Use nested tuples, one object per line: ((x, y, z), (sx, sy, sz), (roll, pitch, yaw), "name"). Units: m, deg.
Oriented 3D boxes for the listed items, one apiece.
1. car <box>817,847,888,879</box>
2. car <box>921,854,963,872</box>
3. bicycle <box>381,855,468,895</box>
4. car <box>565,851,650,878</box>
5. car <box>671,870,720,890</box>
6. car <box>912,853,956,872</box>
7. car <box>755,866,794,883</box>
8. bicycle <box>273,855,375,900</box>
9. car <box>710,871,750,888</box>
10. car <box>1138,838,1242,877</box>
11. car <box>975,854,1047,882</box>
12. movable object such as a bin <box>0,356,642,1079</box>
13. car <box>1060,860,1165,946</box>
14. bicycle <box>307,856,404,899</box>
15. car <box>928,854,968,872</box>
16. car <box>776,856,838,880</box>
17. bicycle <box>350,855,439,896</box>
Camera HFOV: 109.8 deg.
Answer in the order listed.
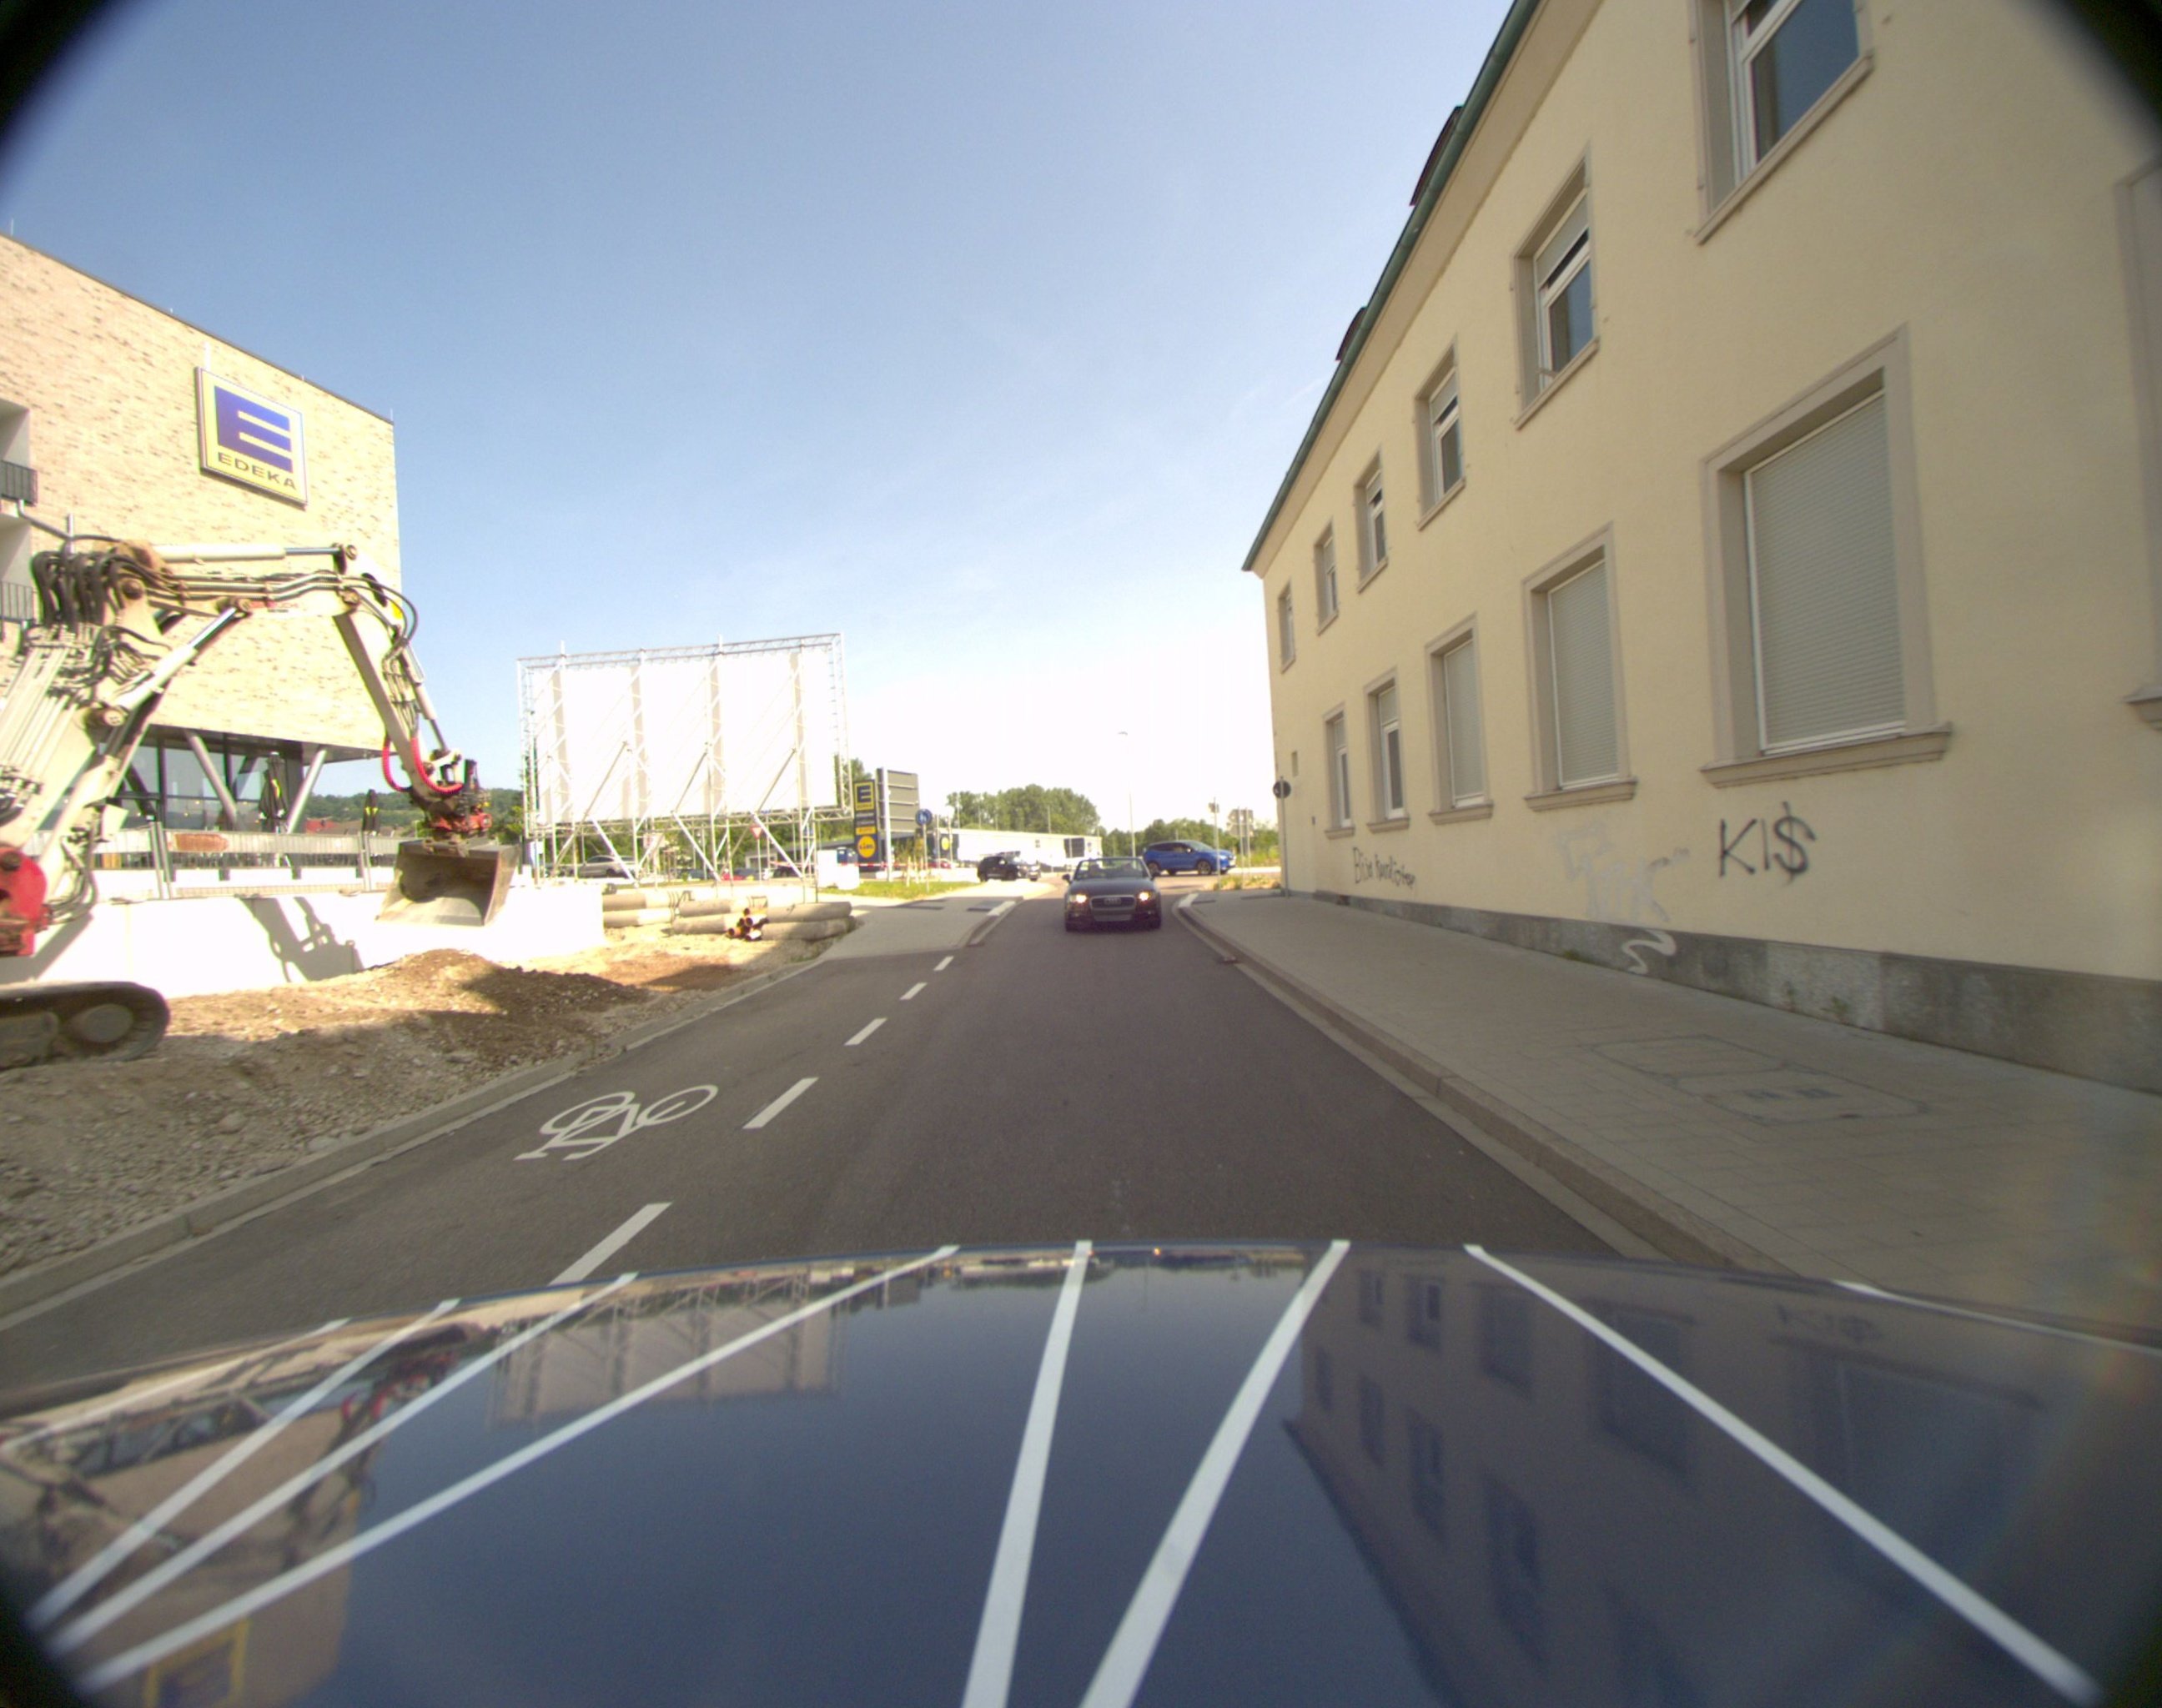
((-21.048, 0.822, 70.027), (6.080, 2.369, 2.064), (-6, -2, 20), "car")
((-14.956, 0.970, 81.781), (4.018, 1.564, 1.780), (-6, -1, 2), "car")
((-22.567, 0.734, 26.143), (2.242, 1.137, 0.857), (-6, -1, 3), "bicycle")
((-30.276, 0.684, 48.560), (4.812, 1.546, 1.861), (-1, -3, 16), "car")
((-35.515, 2.367, 70.034), (1.760, 1.564, 3.792), (-6, -2, 17), "car")
((-15.326, 0.929, 79.311), (4.018, 1.564, 1.780), (-6, -1, 2), "car")
((-32.981, 2.220, 81.838), (1.663, 1.564, 3.792), (-6, -2, 17), "car")
((-23.156, 0.729, 23.268), (2.242, 1.137, 0.857), (-6, -1, 3), "bicycle")
((-38.380, 2.810, 83.133), (1.760, 1.564, 3.792), (-6, -2, 17), "car")
((4.949, 0.162, 34.740), (4.341, 1.653, 1.891), (-1, 1, 41), "car")
((-3.981, 0.825, 42.626), (4.219, 1.384, 1.647), (-4, -3, 45), "car")
((-6.702, -0.658, 4.965), (2.300, 3.831, 7.801), (-6, 0, 5), "movable object such as a bin")
((0.650, 0.830, 14.658), (1.721, 1.315, 4.224), (-1, 1, 4), "car")
((-23.037, 0.742, 24.160), (2.242, 1.137, 0.857), (-6, -1, 3), "bicycle")
((-14.821, 1.045, 84.637), (3.997, 1.564, 1.704), (-5, -1, 0), "car")
((-23.376, 1.214, 64.801), (4.851, 1.521, 1.925), (-6, -2, 22), "car")
((-22.755, 0.716, 25.211), (2.242, 1.137, 0.766), (-6, -1, 3), "bicycle")
